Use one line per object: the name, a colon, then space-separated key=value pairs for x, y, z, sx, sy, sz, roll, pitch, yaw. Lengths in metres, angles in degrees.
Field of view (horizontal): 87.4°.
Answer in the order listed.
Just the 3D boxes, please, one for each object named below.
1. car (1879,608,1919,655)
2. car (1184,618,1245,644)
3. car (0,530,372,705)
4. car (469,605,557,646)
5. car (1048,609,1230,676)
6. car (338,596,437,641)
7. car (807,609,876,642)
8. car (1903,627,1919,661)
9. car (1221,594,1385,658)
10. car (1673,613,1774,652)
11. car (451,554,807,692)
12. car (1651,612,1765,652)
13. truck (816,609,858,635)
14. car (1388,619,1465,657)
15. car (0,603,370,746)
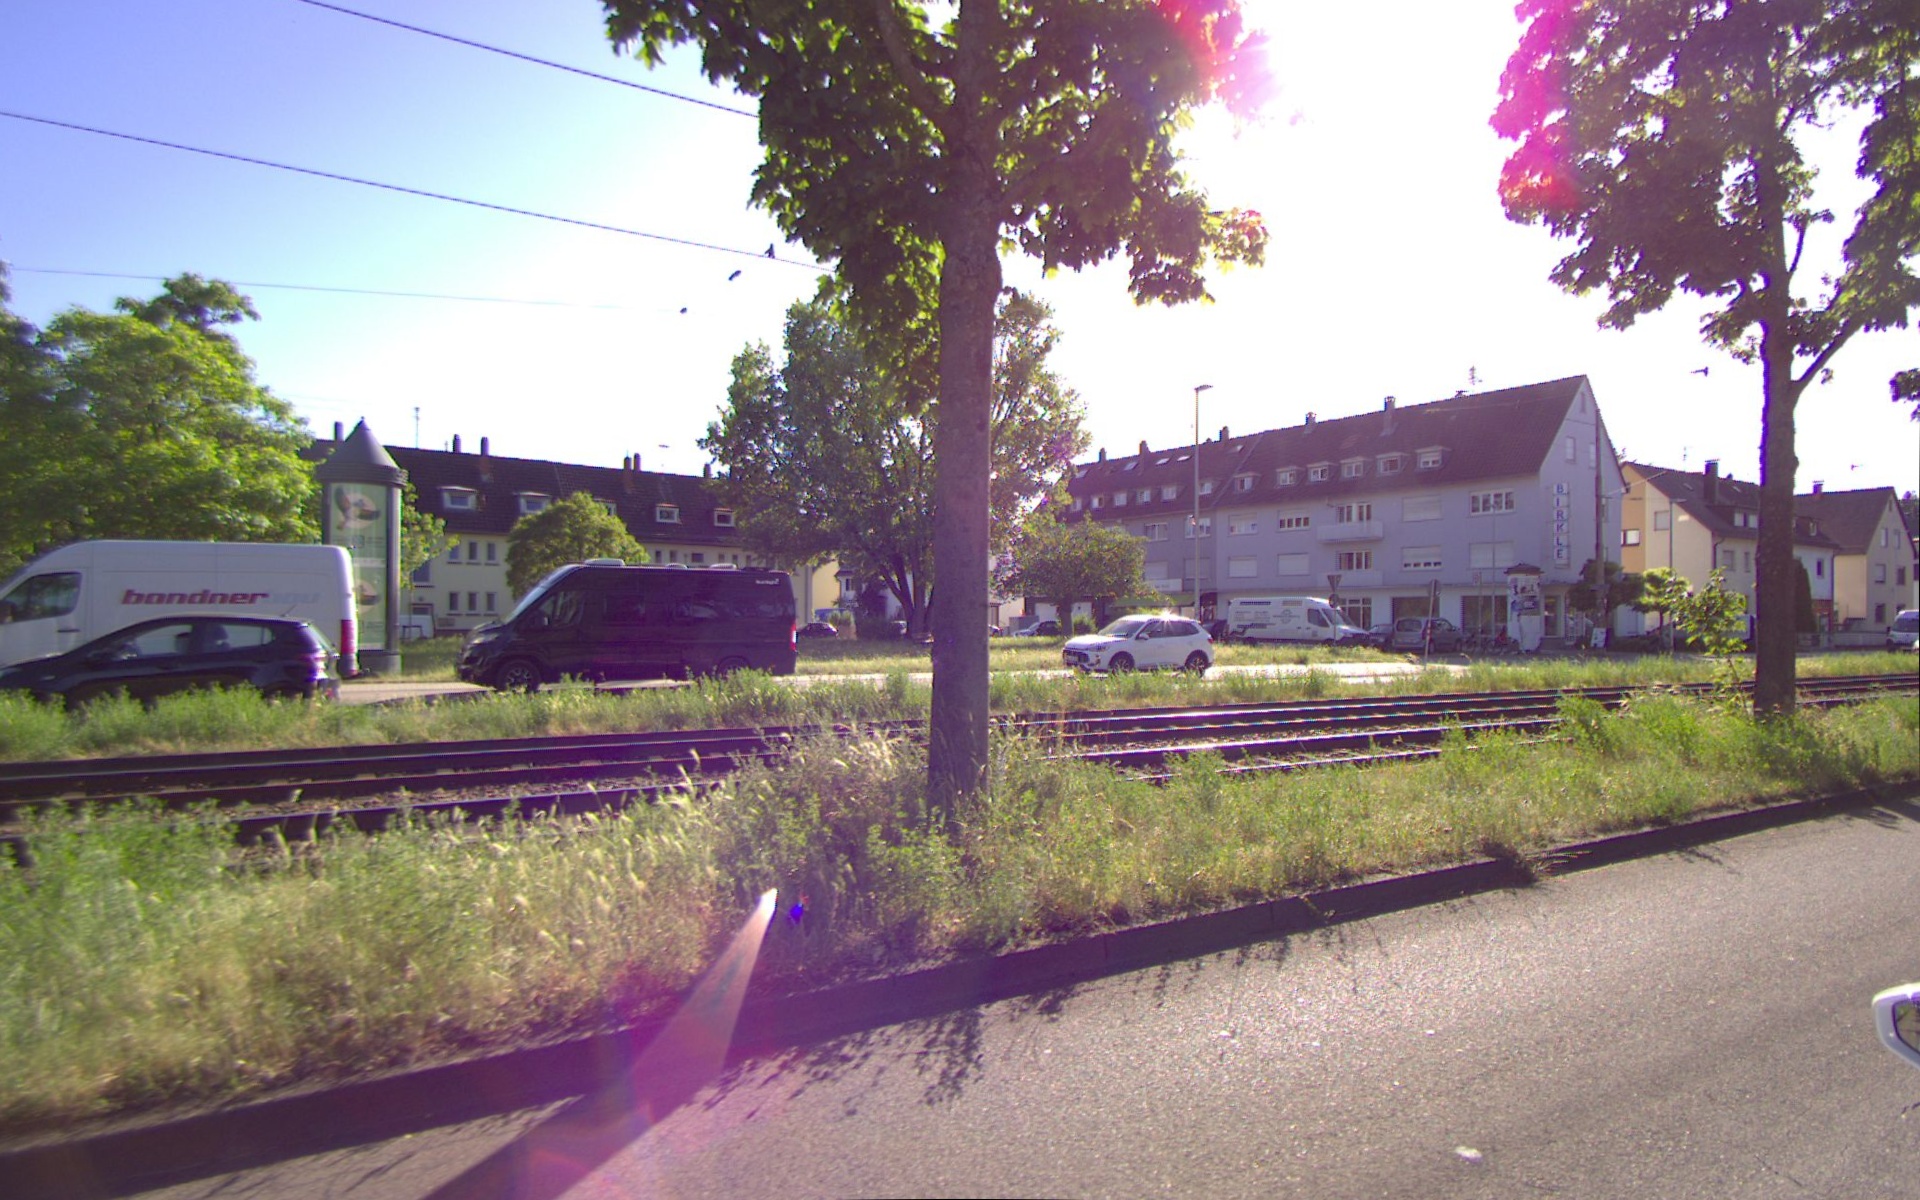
car: x=54.000 y=1.807 z=56.199 sx=6.598 sy=2.492 sz=1.983 roll=2 pitch=0 yaw=-31
car: x=15.044 y=1.831 z=59.323 sx=3.596 sy=1.468 sz=1.518 roll=2 pitch=-1 yaw=-36
car: x=-13.074 y=0.285 z=16.249 sx=6.068 sy=2.530 sz=1.991 roll=2 pitch=0 yaw=-31
car: x=-23.700 y=1.357 z=53.272 sx=3.961 sy=2.040 sz=1.980 roll=2 pitch=0 yaw=-35
car: x=4.810 y=1.133 z=26.837 sx=4.718 sy=1.628 sz=1.814 roll=2 pitch=0 yaw=-30
car: x=-28.313 y=0.928 z=49.705 sx=3.966 sy=2.040 sz=1.977 roll=2 pitch=0 yaw=-39
car: x=-7.704 y=1.669 z=65.450 sx=3.956 sy=2.040 sz=1.982 roll=2 pitch=0 yaw=-32
car: x=43.374 y=1.951 z=44.244 sx=3.953 sy=1.428 sz=1.668 roll=1 pitch=-1 yaw=-31
car: x=15.249 y=1.075 z=45.221 sx=2.306 sy=2.541 sz=7.021 roll=1 pitch=0 yaw=-34
car: x=42.120 y=1.780 z=55.489 sx=1.984 sy=1.978 sz=4.102 roll=2 pitch=0 yaw=-40
car: x=-6.469 y=0.479 z=19.994 sx=6.389 sy=2.408 sz=2.172 roll=2 pitch=0 yaw=-31
car: x=40.138 y=1.684 z=53.988 sx=1.984 sy=1.971 sz=4.578 roll=2 pitch=0 yaw=-40
truck: x=-10.935 y=1.915 z=89.277 sx=1.980 sy=2.117 sz=4.088 roll=2 pitch=0 yaw=-35
car: x=22.956 y=1.866 z=49.378 sx=4.066 sy=1.692 sz=1.780 roll=2 pitch=0 yaw=-39
car: x=-9.556 y=0.848 z=12.528 sx=3.705 sy=1.552 sz=1.985 roll=1 pitch=-1 yaw=-29
